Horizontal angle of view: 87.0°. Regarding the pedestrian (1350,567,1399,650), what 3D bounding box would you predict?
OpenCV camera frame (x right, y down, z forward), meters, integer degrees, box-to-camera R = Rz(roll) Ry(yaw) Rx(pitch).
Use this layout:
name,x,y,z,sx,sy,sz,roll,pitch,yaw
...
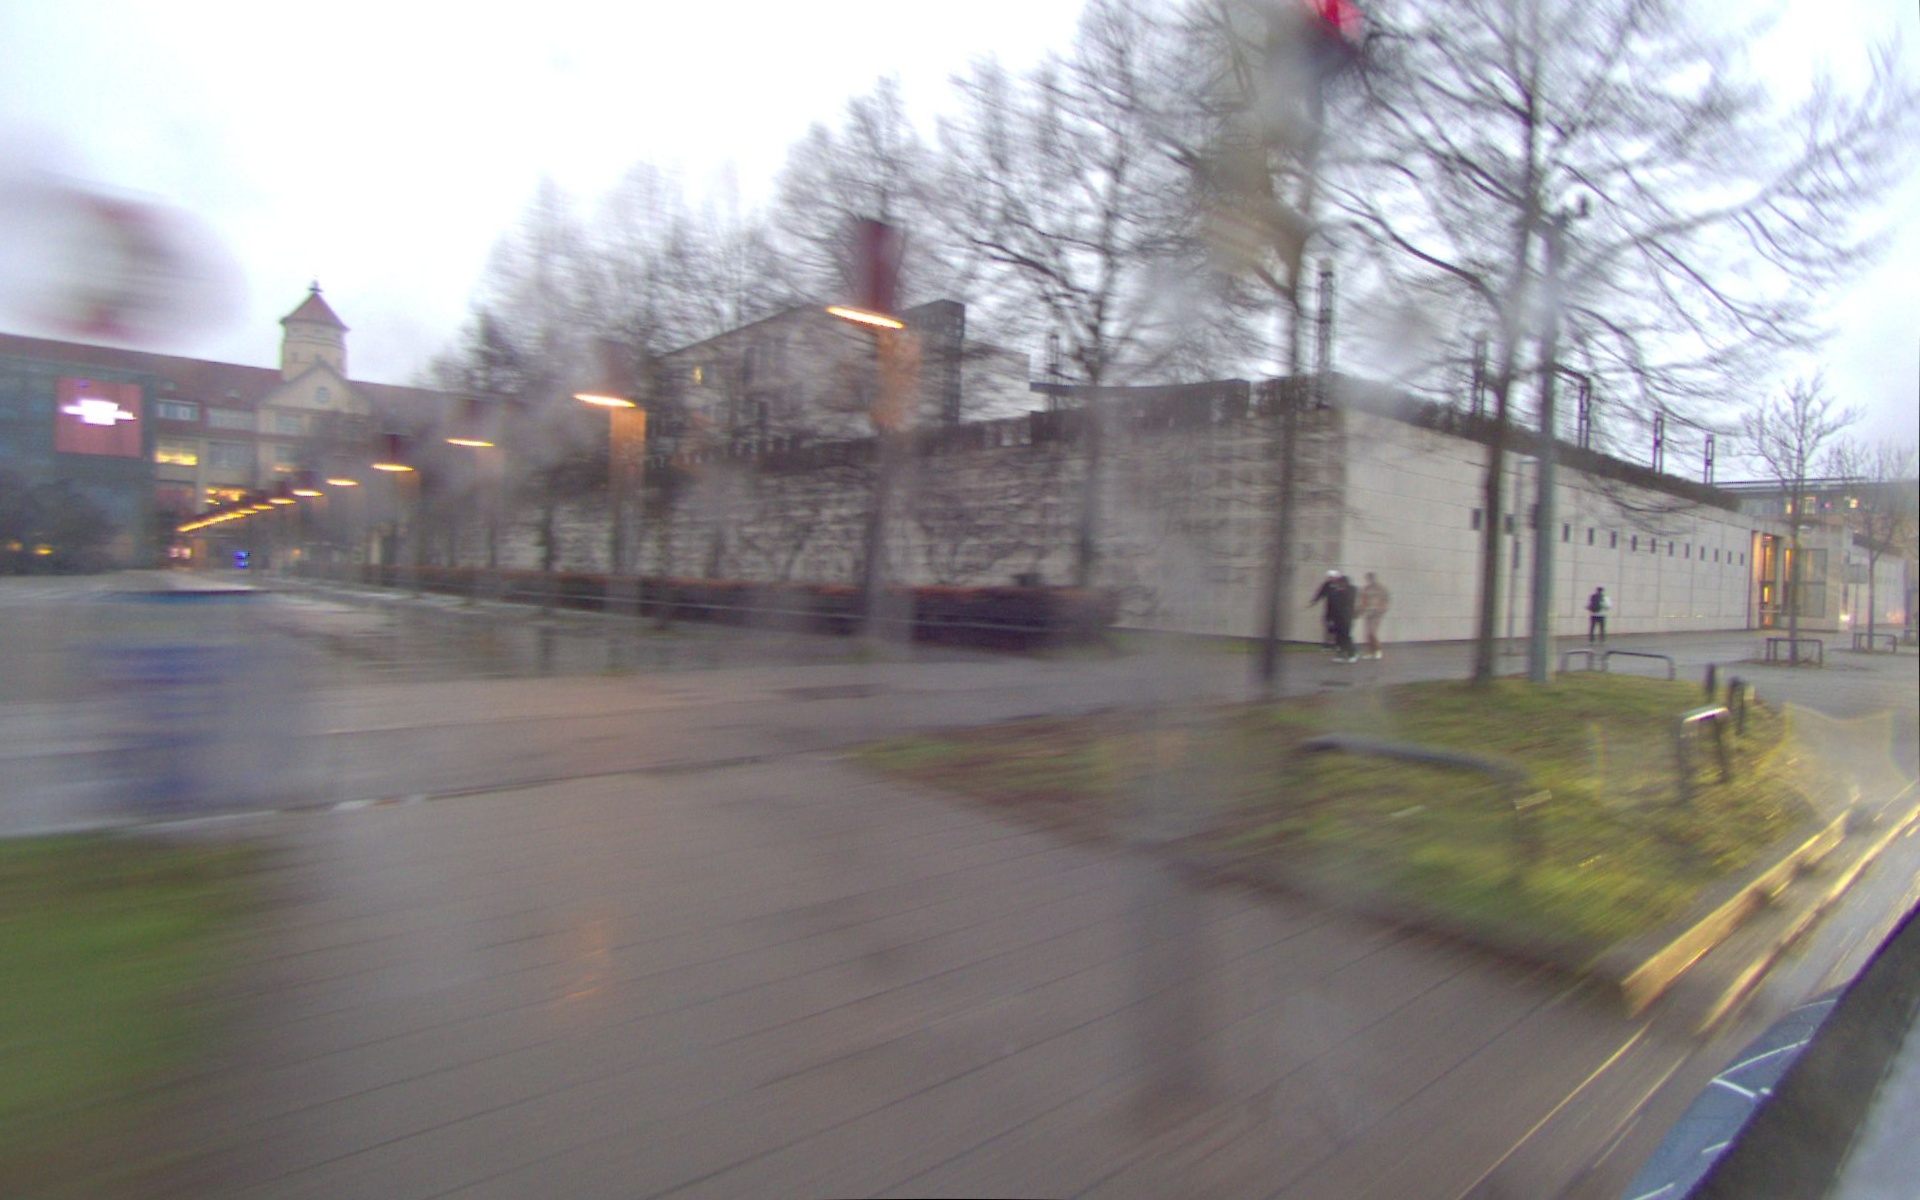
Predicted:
name,x,y,z,sx,sy,sz,roll,pitch,yaw
pedestrian,8.298,0.165,20.257,0.602,1.632,0.676,0,0,-27

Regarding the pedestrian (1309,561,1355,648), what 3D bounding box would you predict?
name,x,y,z,sx,sy,sz,roll,pitch,yaw
pedestrian,7.875,0.090,21.419,0.602,1.800,0.676,0,0,-27

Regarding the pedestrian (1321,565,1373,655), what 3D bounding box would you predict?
name,x,y,z,sx,sy,sz,roll,pitch,yaw
pedestrian,7.232,0.187,18.913,0.601,1.646,0.676,0,0,-25

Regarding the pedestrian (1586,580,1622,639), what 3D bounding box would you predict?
name,x,y,z,sx,sy,sz,roll,pitch,yaw
pedestrian,19.065,0.262,29.941,0.667,1.675,0.979,3,3,44
